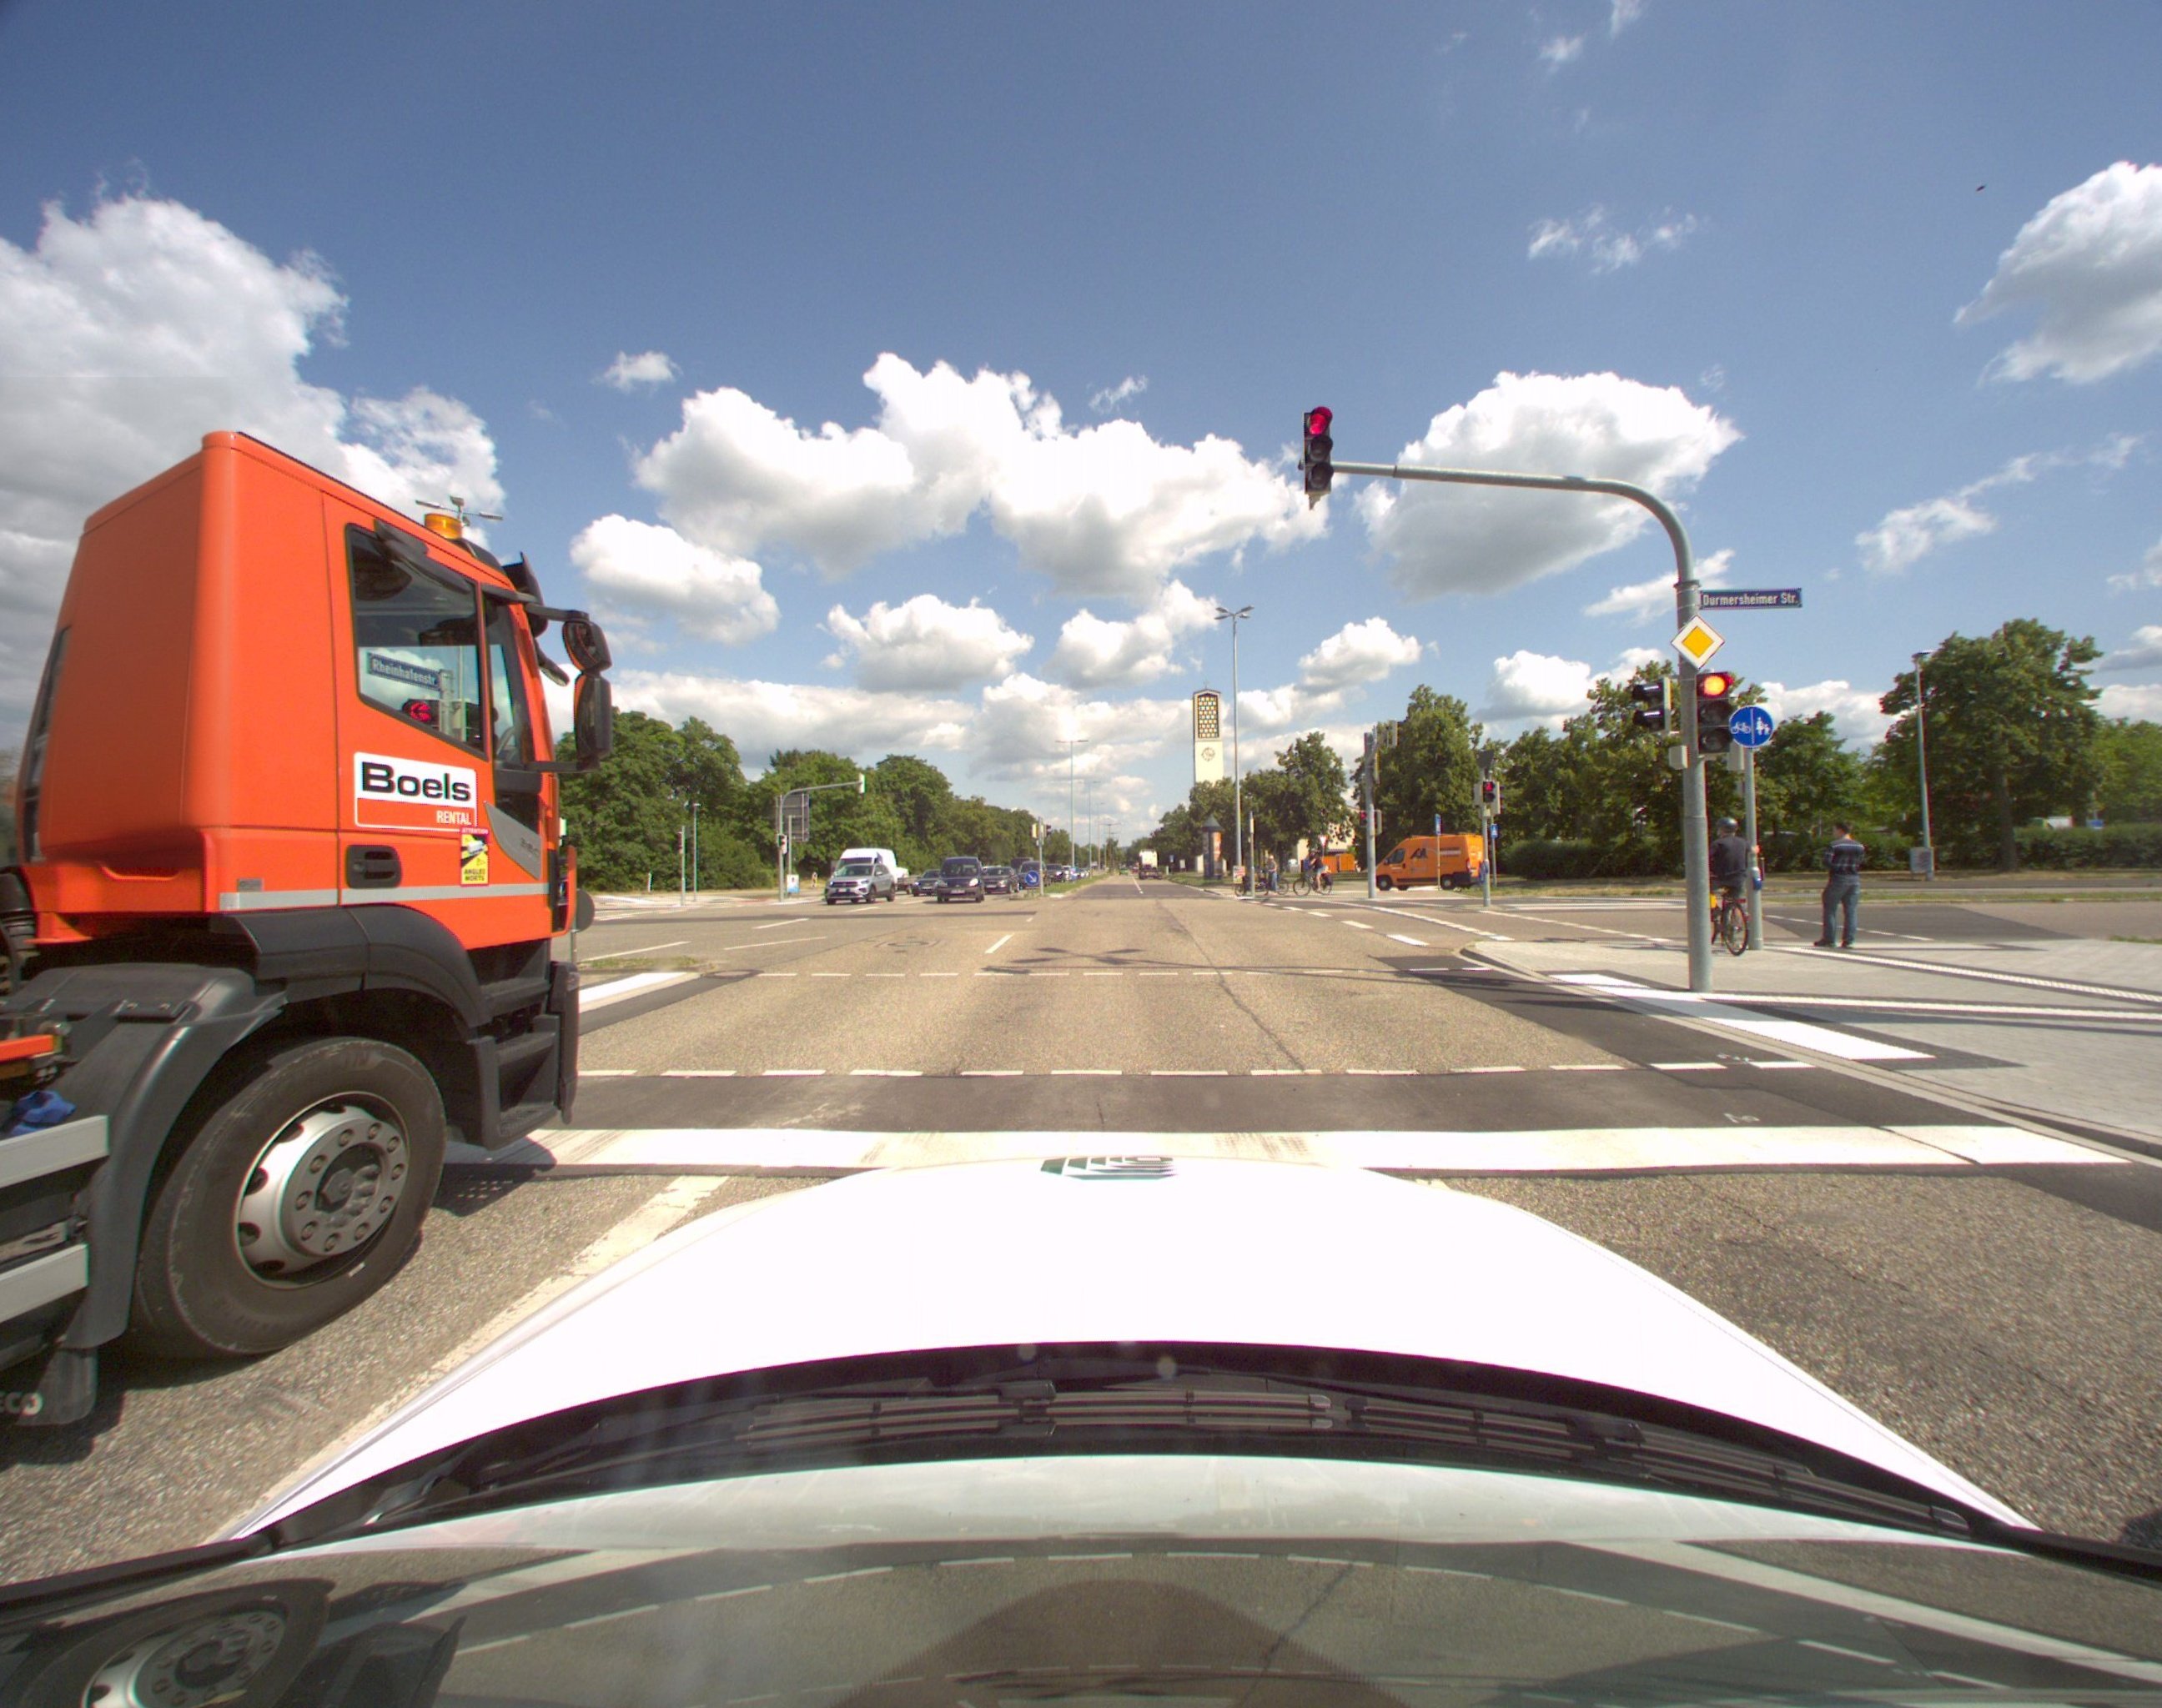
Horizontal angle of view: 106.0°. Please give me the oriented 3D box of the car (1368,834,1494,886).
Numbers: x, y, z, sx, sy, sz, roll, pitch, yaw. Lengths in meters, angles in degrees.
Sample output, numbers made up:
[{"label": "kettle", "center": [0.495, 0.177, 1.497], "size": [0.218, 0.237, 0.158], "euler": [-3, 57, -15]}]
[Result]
[{"label": "car", "center": [15.942, 0.276, 37.294], "size": [2.224, 2.226, 4.801], "euler": [2, -2, -43]}]

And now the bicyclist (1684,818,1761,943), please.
[{"label": "bicyclist", "center": [8.869, 0.356, 11.285], "size": [0.643, 1.661, 0.653], "euler": [1, -1, 16]}]

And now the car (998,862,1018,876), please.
[{"label": "car", "center": [-7.017, 1.452, 78.408], "size": [1.542, 1.217, 3.491], "euler": [1, -1, 2]}]

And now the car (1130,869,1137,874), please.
[{"label": "car", "center": [16.915, 5.492, 261.871], "size": [1.986, 1.552, 4.001], "euler": [1, -1, 2]}]

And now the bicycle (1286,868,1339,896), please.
[{"label": "bicycle", "center": [9.387, 1.119, 33.066], "size": [2.001, 1.093, 0.682], "euler": [-1, -1, -16]}]

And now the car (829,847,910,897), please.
[{"label": "car", "center": [-11.160, 0.944, 43.547], "size": [2.163, 2.471, 5.976], "euler": [1, -1, 6]}]

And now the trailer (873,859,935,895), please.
[{"label": "trailer", "center": [-10.598, 1.346, 49.116], "size": [2.114, 2.014, 5.169], "euler": [1, -1, 6]}]

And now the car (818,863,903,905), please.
[{"label": "car", "center": [-8.542, 1.142, 32.008], "size": [1.726, 1.543, 4.316], "euler": [1, -1, 6]}]

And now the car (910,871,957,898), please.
[{"label": "car", "center": [-7.726, 1.571, 42.968], "size": [1.757, 1.352, 3.520], "euler": [-1, -1, 2]}]

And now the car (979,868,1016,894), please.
[{"label": "car", "center": [-4.364, 1.399, 42.834], "size": [1.563, 1.316, 3.431], "euler": [1, -1, 0]}]

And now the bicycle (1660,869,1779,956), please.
[{"label": "bicycle", "center": [8.915, 0.771, 11.464], "size": [0.643, 1.108, 1.936], "euler": [1, -1, 16]}]

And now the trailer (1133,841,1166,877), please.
[{"label": "trailer", "center": [8.358, 0.693, 97.957], "size": [3.602, 4.012, 11.336], "euler": [-1, -2, 6]}]

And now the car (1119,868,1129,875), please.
[{"label": "car", "center": [9.113, 3.732, 172.489], "size": [1.986, 1.552, 4.001], "euler": [1, -1, 2]}]

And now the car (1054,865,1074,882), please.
[{"label": "car", "center": [-1.677, 1.990, 82.459], "size": [1.727, 1.660, 4.233], "euler": [1, -1, 3]}]

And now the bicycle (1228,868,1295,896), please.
[{"label": "bicycle", "center": [7.680, 1.177, 34.571], "size": [2.844, 1.112, 0.791], "euler": [0, -1, -22]}]

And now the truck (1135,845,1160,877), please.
[{"label": "truck", "center": [8.763, 0.930, 106.089], "size": [2.944, 3.971, 8.651], "euler": [-1, -2, 6]}]

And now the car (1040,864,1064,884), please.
[{"label": "car", "center": [-2.482, 1.693, 70.288], "size": [1.728, 1.660, 4.232], "euler": [1, -1, 2]}]

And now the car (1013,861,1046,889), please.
[{"label": "car", "center": [-3.318, 1.346, 53.067], "size": [1.728, 1.660, 4.233], "euler": [1, 0, 2]}]

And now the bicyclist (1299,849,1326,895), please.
[{"label": "bicyclist", "center": [9.407, 0.724, 33.077], "size": [0.788, 1.804, 0.682], "euler": [0, -1, -16]}]

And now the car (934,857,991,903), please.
[{"label": "car", "center": [-4.503, 0.972, 31.502], "size": [1.730, 1.660, 4.226], "euler": [1, -1, -3]}]

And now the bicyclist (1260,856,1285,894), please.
[{"label": "bicyclist", "center": [8.195, 0.882, 34.781], "size": [0.701, 1.616, 0.791], "euler": [0, -1, -22]}]

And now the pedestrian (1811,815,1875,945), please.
[{"label": "pedestrian", "center": [10.746, 0.361, 11.497], "size": [0.461, 1.779, 0.483], "euler": [1, -1, 11]}]

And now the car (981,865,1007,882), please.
[{"label": "car", "center": [-6.683, 1.478, 62.836], "size": [1.542, 1.217, 3.491], "euler": [1, -1, 2]}]
